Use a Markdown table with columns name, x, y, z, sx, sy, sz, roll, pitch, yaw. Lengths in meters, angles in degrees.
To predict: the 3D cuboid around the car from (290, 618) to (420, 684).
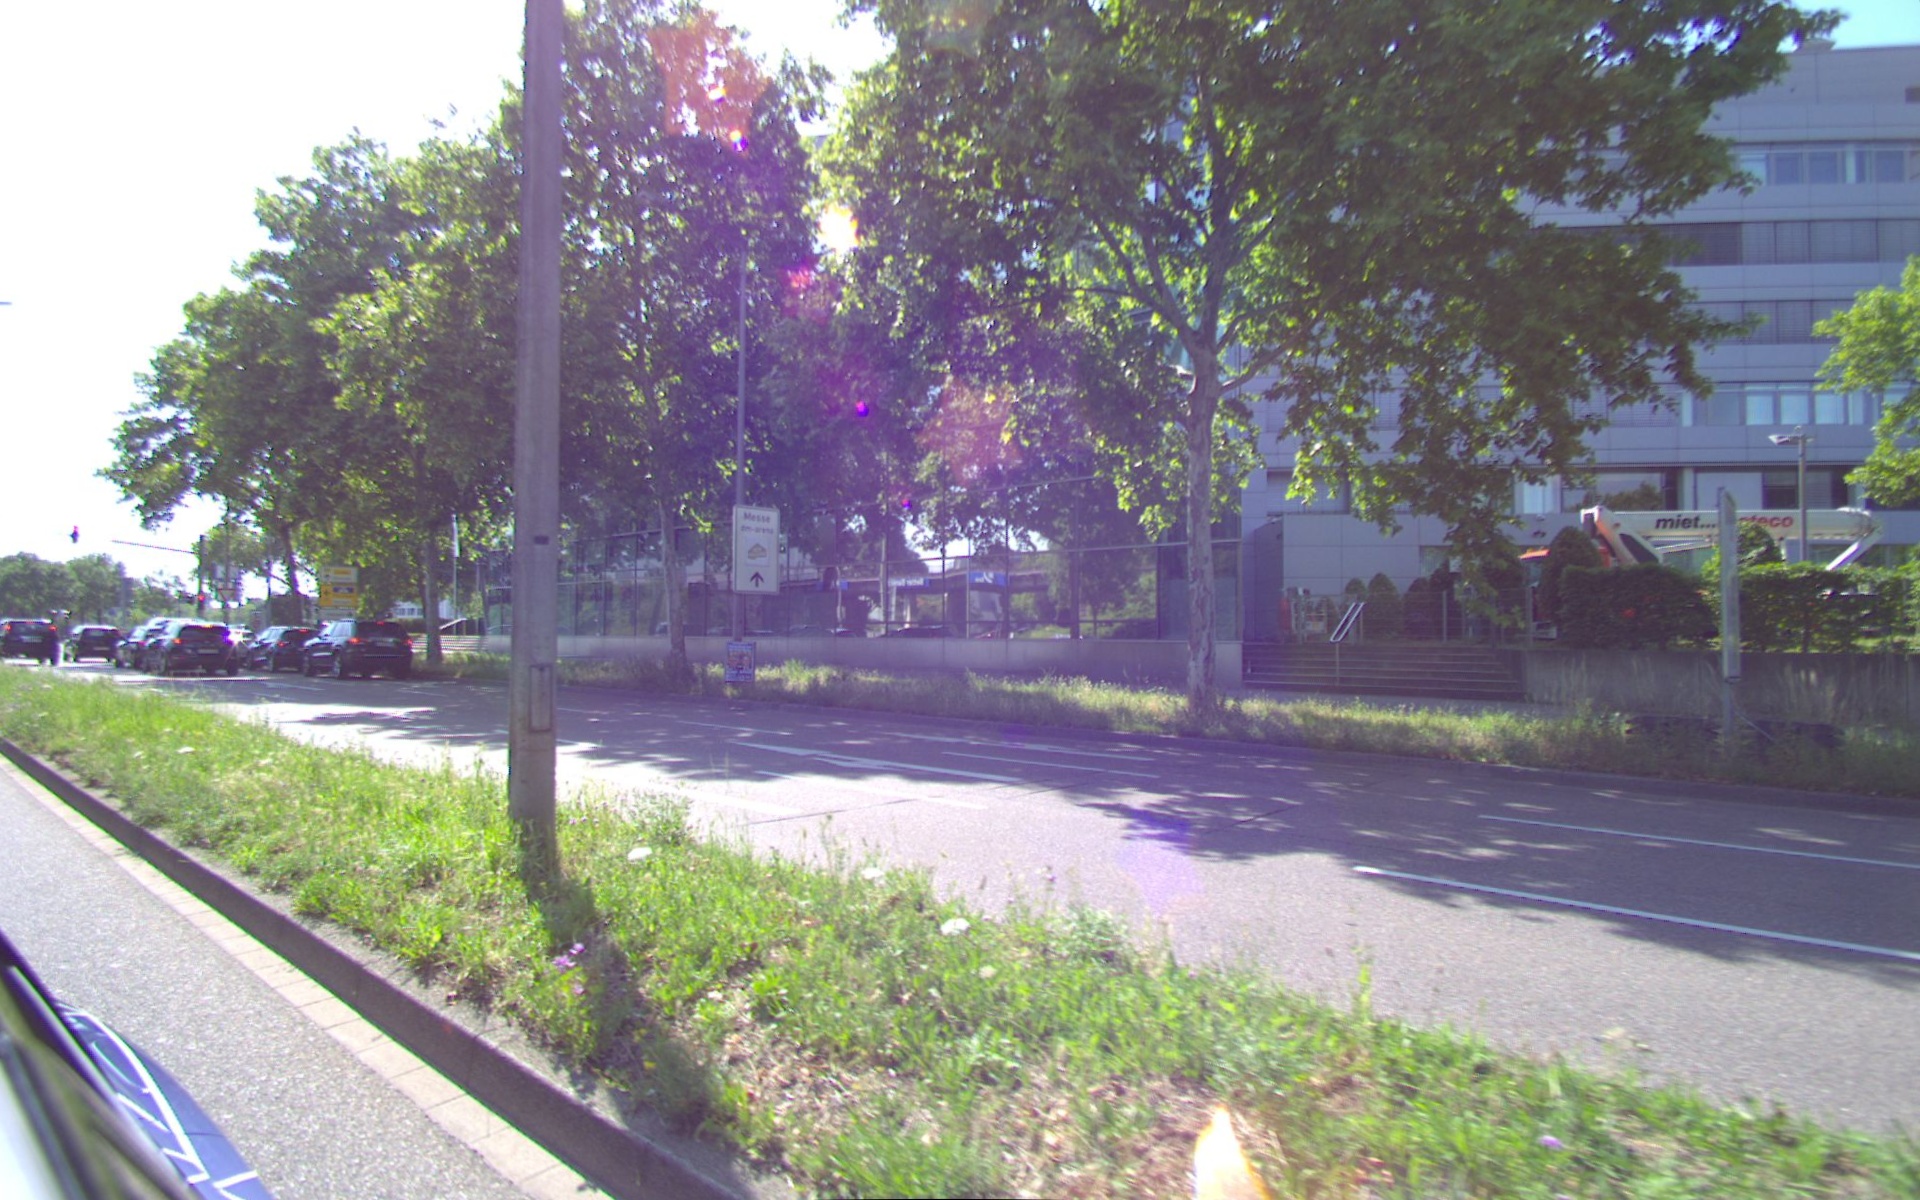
| name | x | y | z | sx | sy | sz | roll | pitch | yaw |
| --- | --- | --- | --- | --- | --- | --- | --- | --- | --- |
| car | -18.345 | 1.536 | 30.596 | 4.648 | 1.849 | 1.973 | -2 | -4 | 41 |

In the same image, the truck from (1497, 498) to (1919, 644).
| name | x | y | z | sx | sy | sz | roll | pitch | yaw |
| --- | --- | --- | --- | --- | --- | --- | --- | --- | --- |
| truck | 18.731 | -0.633 | 25.374 | 8.875 | 3.421 | 2.669 | 0 | -2 | 5 |

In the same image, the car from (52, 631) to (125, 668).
| name | x | y | z | sx | sy | sz | roll | pitch | yaw |
| --- | --- | --- | --- | --- | --- | --- | --- | --- | --- |
| car | -36.699 | 2.052 | 42.594 | 3.955 | 1.487 | 1.743 | -2 | -3 | 41 |

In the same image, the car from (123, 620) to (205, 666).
| name | x | y | z | sx | sy | sz | roll | pitch | yaw |
| --- | --- | --- | --- | --- | --- | --- | --- | --- | --- |
| car | -35.595 | 1.898 | 45.207 | 5.225 | 1.934 | 1.918 | -2 | -3 | 41 |

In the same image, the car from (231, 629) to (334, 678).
| name | x | y | z | sx | sy | sz | roll | pitch | yaw |
| --- | --- | --- | --- | --- | --- | --- | --- | --- | --- |
| car | -23.554 | 1.844 | 35.112 | 4.444 | 1.603 | 1.867 | -2 | -4 | 42 |

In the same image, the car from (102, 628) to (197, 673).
| name | x | y | z | sx | sy | sz | roll | pitch | yaw |
| --- | --- | --- | --- | --- | --- | --- | --- | --- | --- |
| car | -28.513 | 1.759 | 35.558 | 4.515 | 1.473 | 1.816 | -2 | -5 | 42 |

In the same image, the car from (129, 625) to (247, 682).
| name | x | y | z | sx | sy | sz | roll | pitch | yaw |
| --- | --- | --- | --- | --- | --- | --- | --- | --- | --- |
| car | -23.692 | 1.620 | 31.000 | 4.493 | 1.623 | 1.973 | -2 | -4 | 41 |

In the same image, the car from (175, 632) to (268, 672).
| name | x | y | z | sx | sy | sz | roll | pitch | yaw |
| --- | --- | --- | --- | --- | --- | --- | --- | --- | --- |
| car | -28.759 | 2.016 | 39.353 | 5.002 | 1.460 | 1.871 | -2 | -4 | 42 |

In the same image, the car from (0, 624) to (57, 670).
| name | x | y | z | sx | sy | sz | roll | pitch | yaw |
| --- | --- | --- | --- | --- | --- | --- | --- | --- | --- |
| car | -34.712 | 1.715 | 37.057 | 4.487 | 1.628 | 1.789 | -2 | -3 | 40 |
